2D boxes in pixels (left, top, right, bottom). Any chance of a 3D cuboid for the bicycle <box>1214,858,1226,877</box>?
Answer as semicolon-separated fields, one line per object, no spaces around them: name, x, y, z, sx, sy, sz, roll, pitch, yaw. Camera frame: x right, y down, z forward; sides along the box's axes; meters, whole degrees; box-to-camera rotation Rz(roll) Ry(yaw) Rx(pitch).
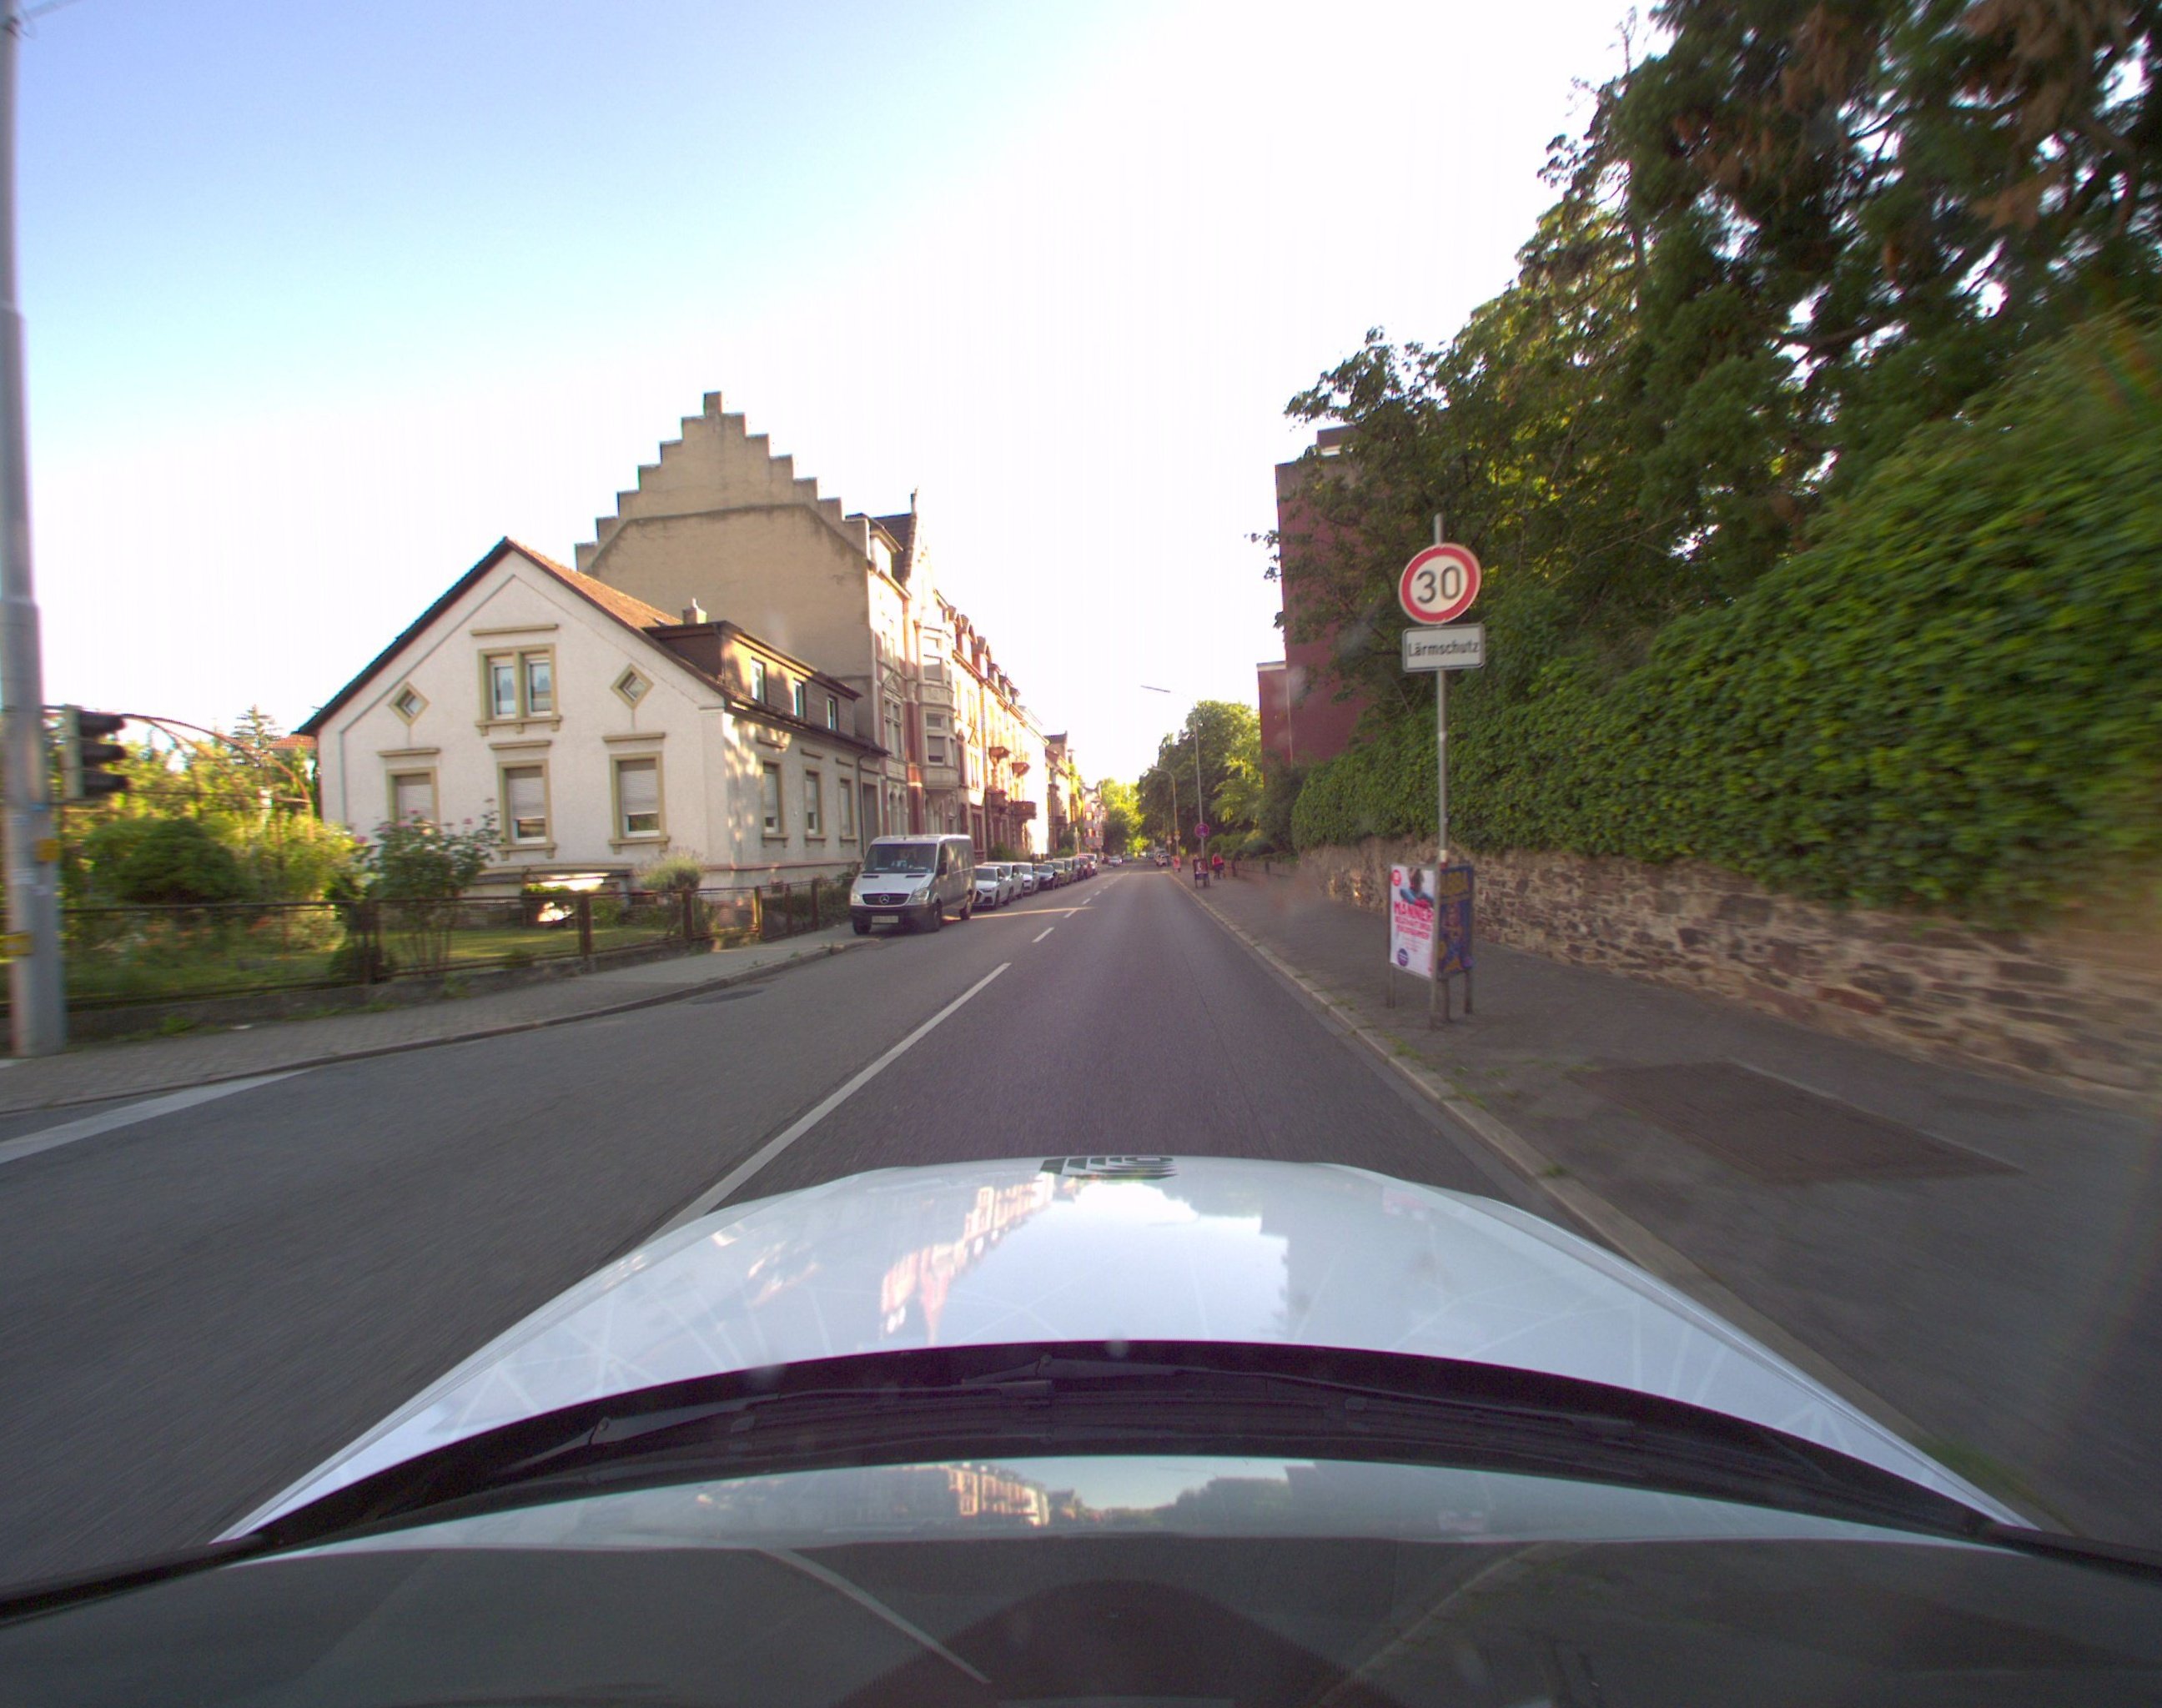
bicycle;7.321;0.711;42.861;0.564;0.970;0.492;-2;1;0

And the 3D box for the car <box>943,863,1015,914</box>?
car;-3.403;1.116;27.806;1.695;1.503;3.827;-2;0;3

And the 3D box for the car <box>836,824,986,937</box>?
car;-4.118;0.580;21.069;2.058;2.460;6.022;-2;0;5

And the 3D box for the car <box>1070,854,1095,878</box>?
car;0.138;0.894;63.362;1.695;1.738;3.861;-2;0;3

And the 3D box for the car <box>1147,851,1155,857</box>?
car;19.882;0.081;230.687;1.986;1.491;4.472;-4;1;2

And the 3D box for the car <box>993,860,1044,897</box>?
car;-2.835;1.079;37.902;1.695;1.536;4.553;-2;0;4

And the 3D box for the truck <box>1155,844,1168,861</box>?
truck;14.131;-0.280;143.250;1.984;2.896;4.476;-4;1;4

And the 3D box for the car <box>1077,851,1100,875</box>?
car;0.696;0.774;73.748;1.785;2.010;4.702;-2;0;4

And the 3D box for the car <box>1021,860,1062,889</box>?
car;-2.057;1.071;43.103;1.695;1.366;3.863;-2;0;3

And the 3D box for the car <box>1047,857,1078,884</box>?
car;-1.158;1.045;53.164;1.695;1.584;3.638;-2;0;3

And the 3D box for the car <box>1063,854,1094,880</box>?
car;-0.148;0.921;58.157;1.694;1.707;4.447;-2;0;5

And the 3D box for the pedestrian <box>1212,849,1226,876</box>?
pedestrian;7.348;0.452;43.439;0.595;1.403;0.669;-2;1;3

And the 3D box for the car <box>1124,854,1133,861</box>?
car;11.683;0.927;201.653;1.984;1.491;4.476;-4;1;5

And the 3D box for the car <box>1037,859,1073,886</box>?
car;-1.500;1.078;48.160;1.695;1.503;4.076;-2;-1;3

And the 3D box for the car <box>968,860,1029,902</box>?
car;-3.275;1.040;33.142;1.694;1.503;4.026;-2;0;5

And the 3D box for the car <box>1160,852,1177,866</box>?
car;10.997;0.658;102.043;1.983;1.517;4.007;-4;1;6

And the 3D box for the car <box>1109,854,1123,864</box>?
car;5.771;0.855;134.934;1.984;1.491;4.476;-4;1;5
